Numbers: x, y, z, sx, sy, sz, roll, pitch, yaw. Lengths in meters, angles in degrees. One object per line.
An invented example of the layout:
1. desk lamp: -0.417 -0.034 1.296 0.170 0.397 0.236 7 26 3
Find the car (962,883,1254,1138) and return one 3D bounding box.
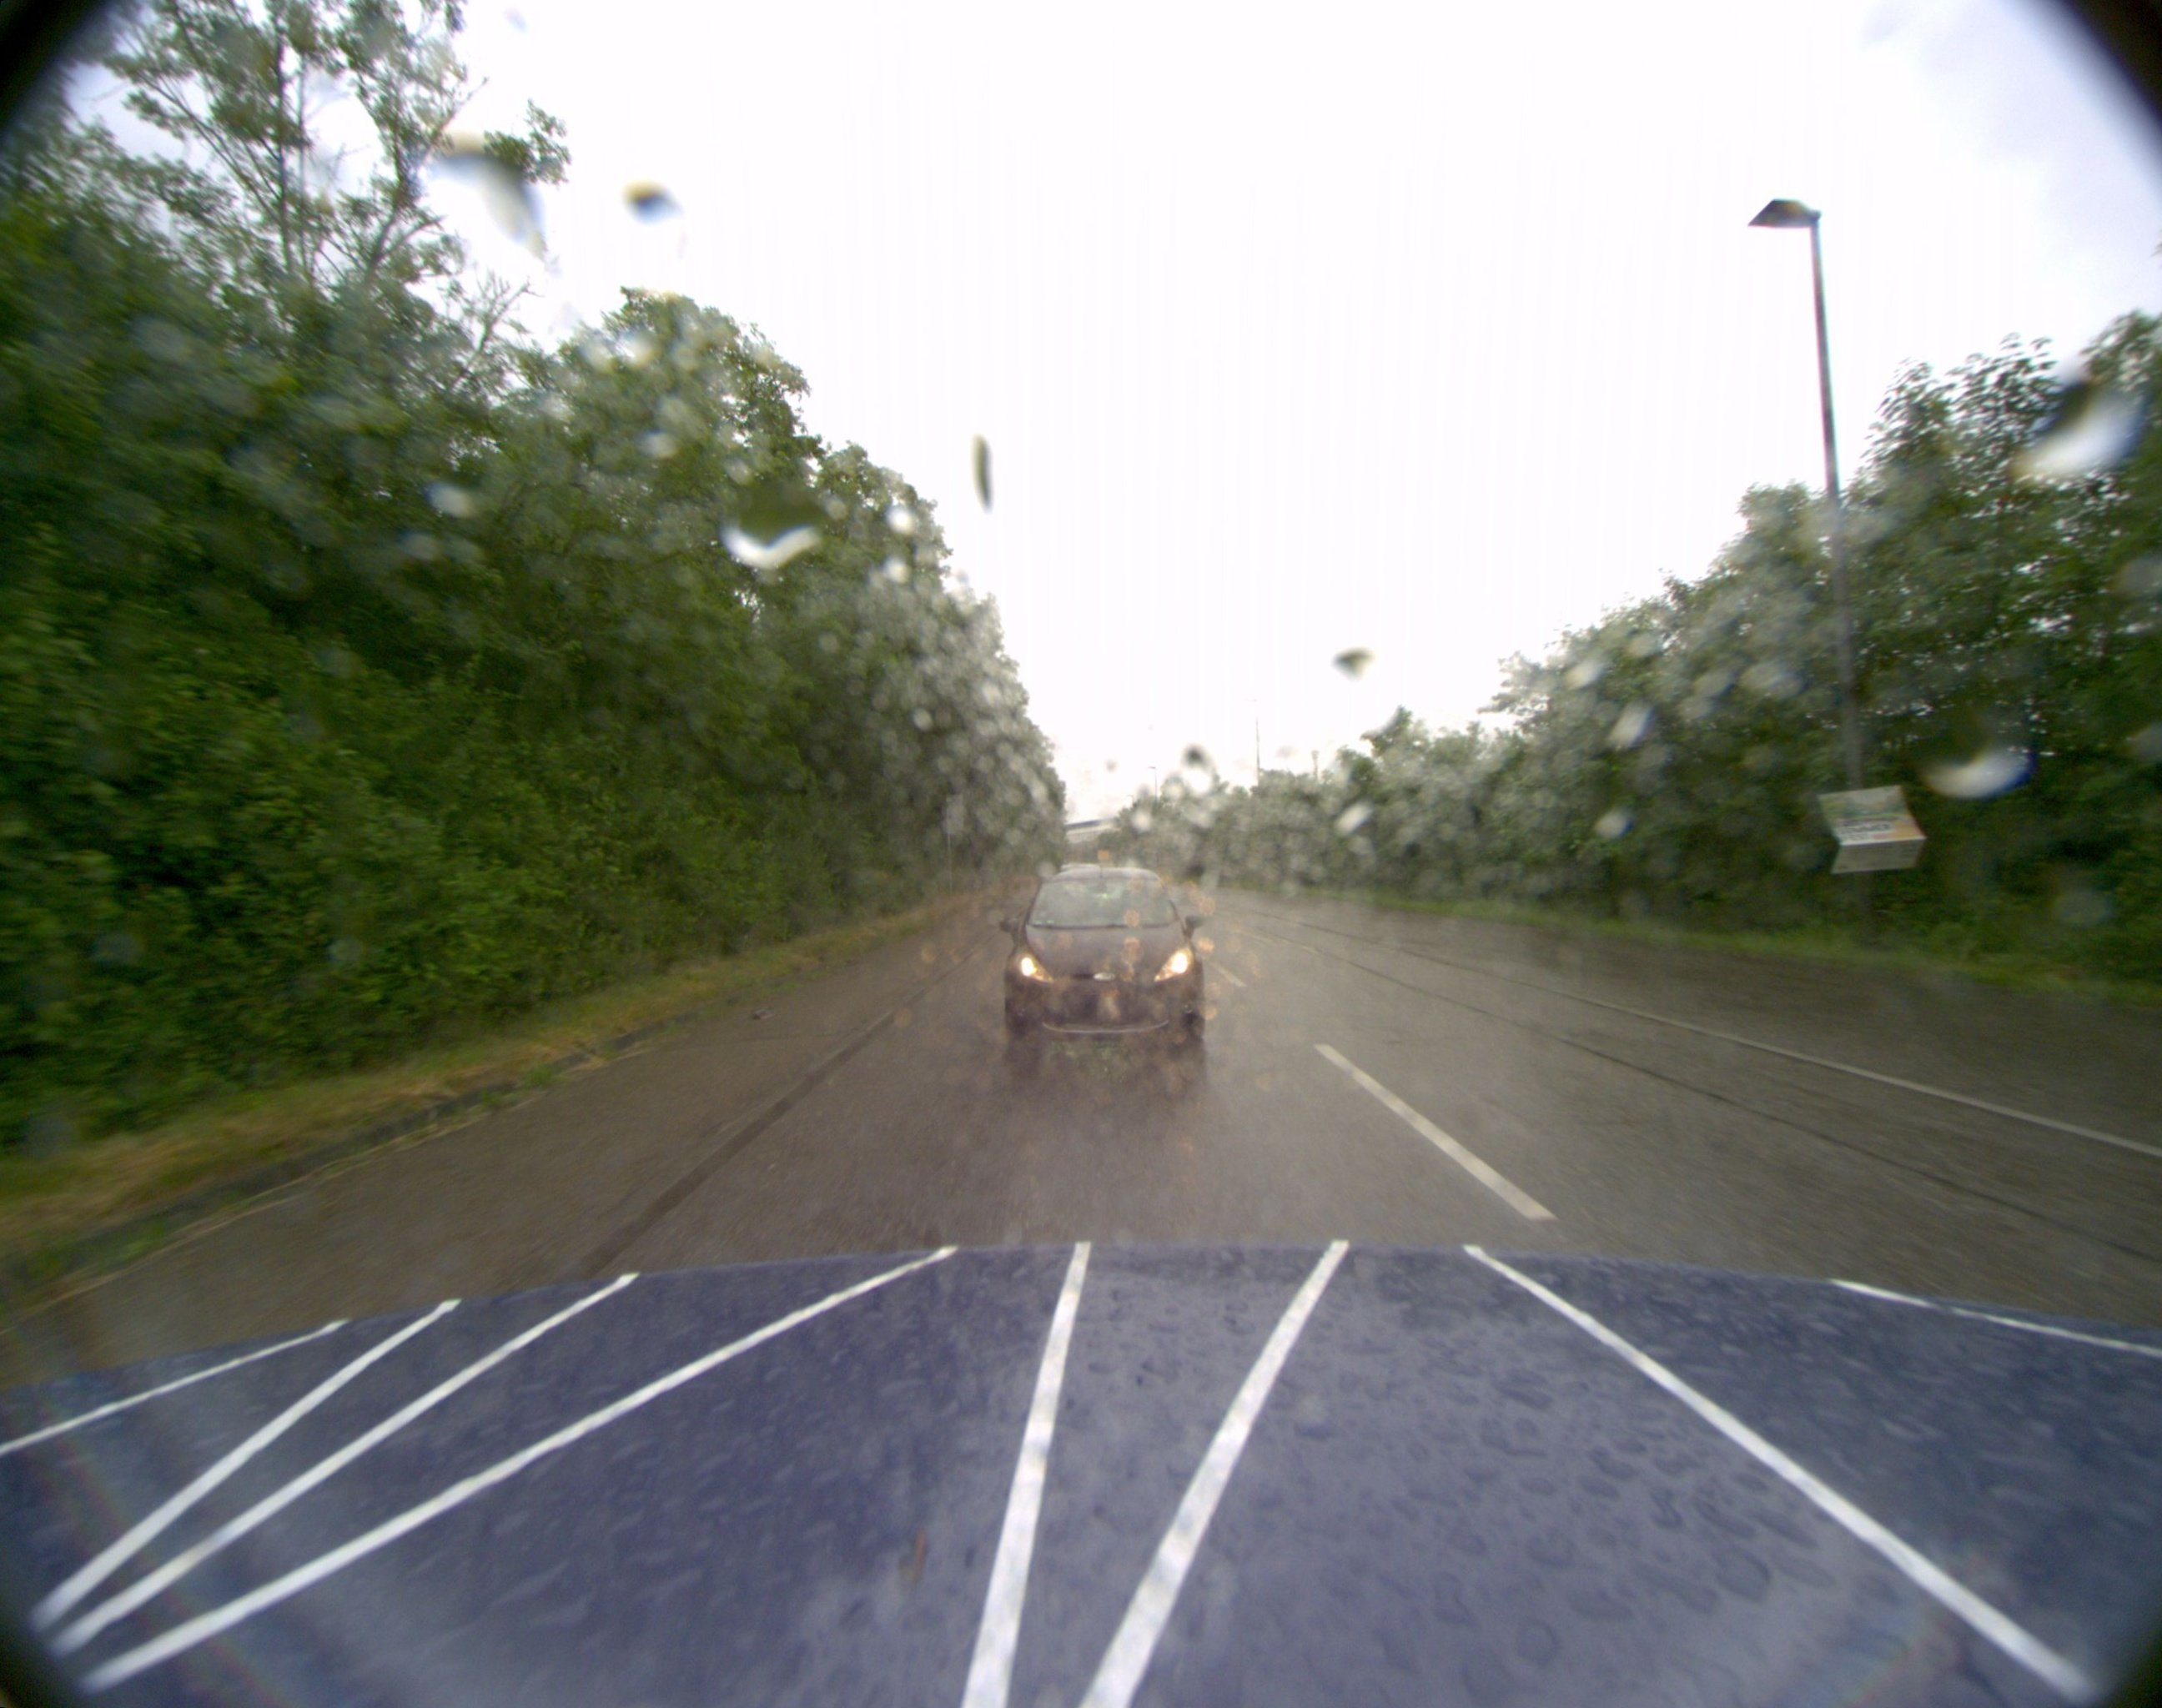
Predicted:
1. car: 0.189 1.093 7.070 1.839 1.404 4.342 -2 0 0

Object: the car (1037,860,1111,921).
1. car: -0.179 1.019 23.010 1.998 1.576 4.000 -2 0 0
